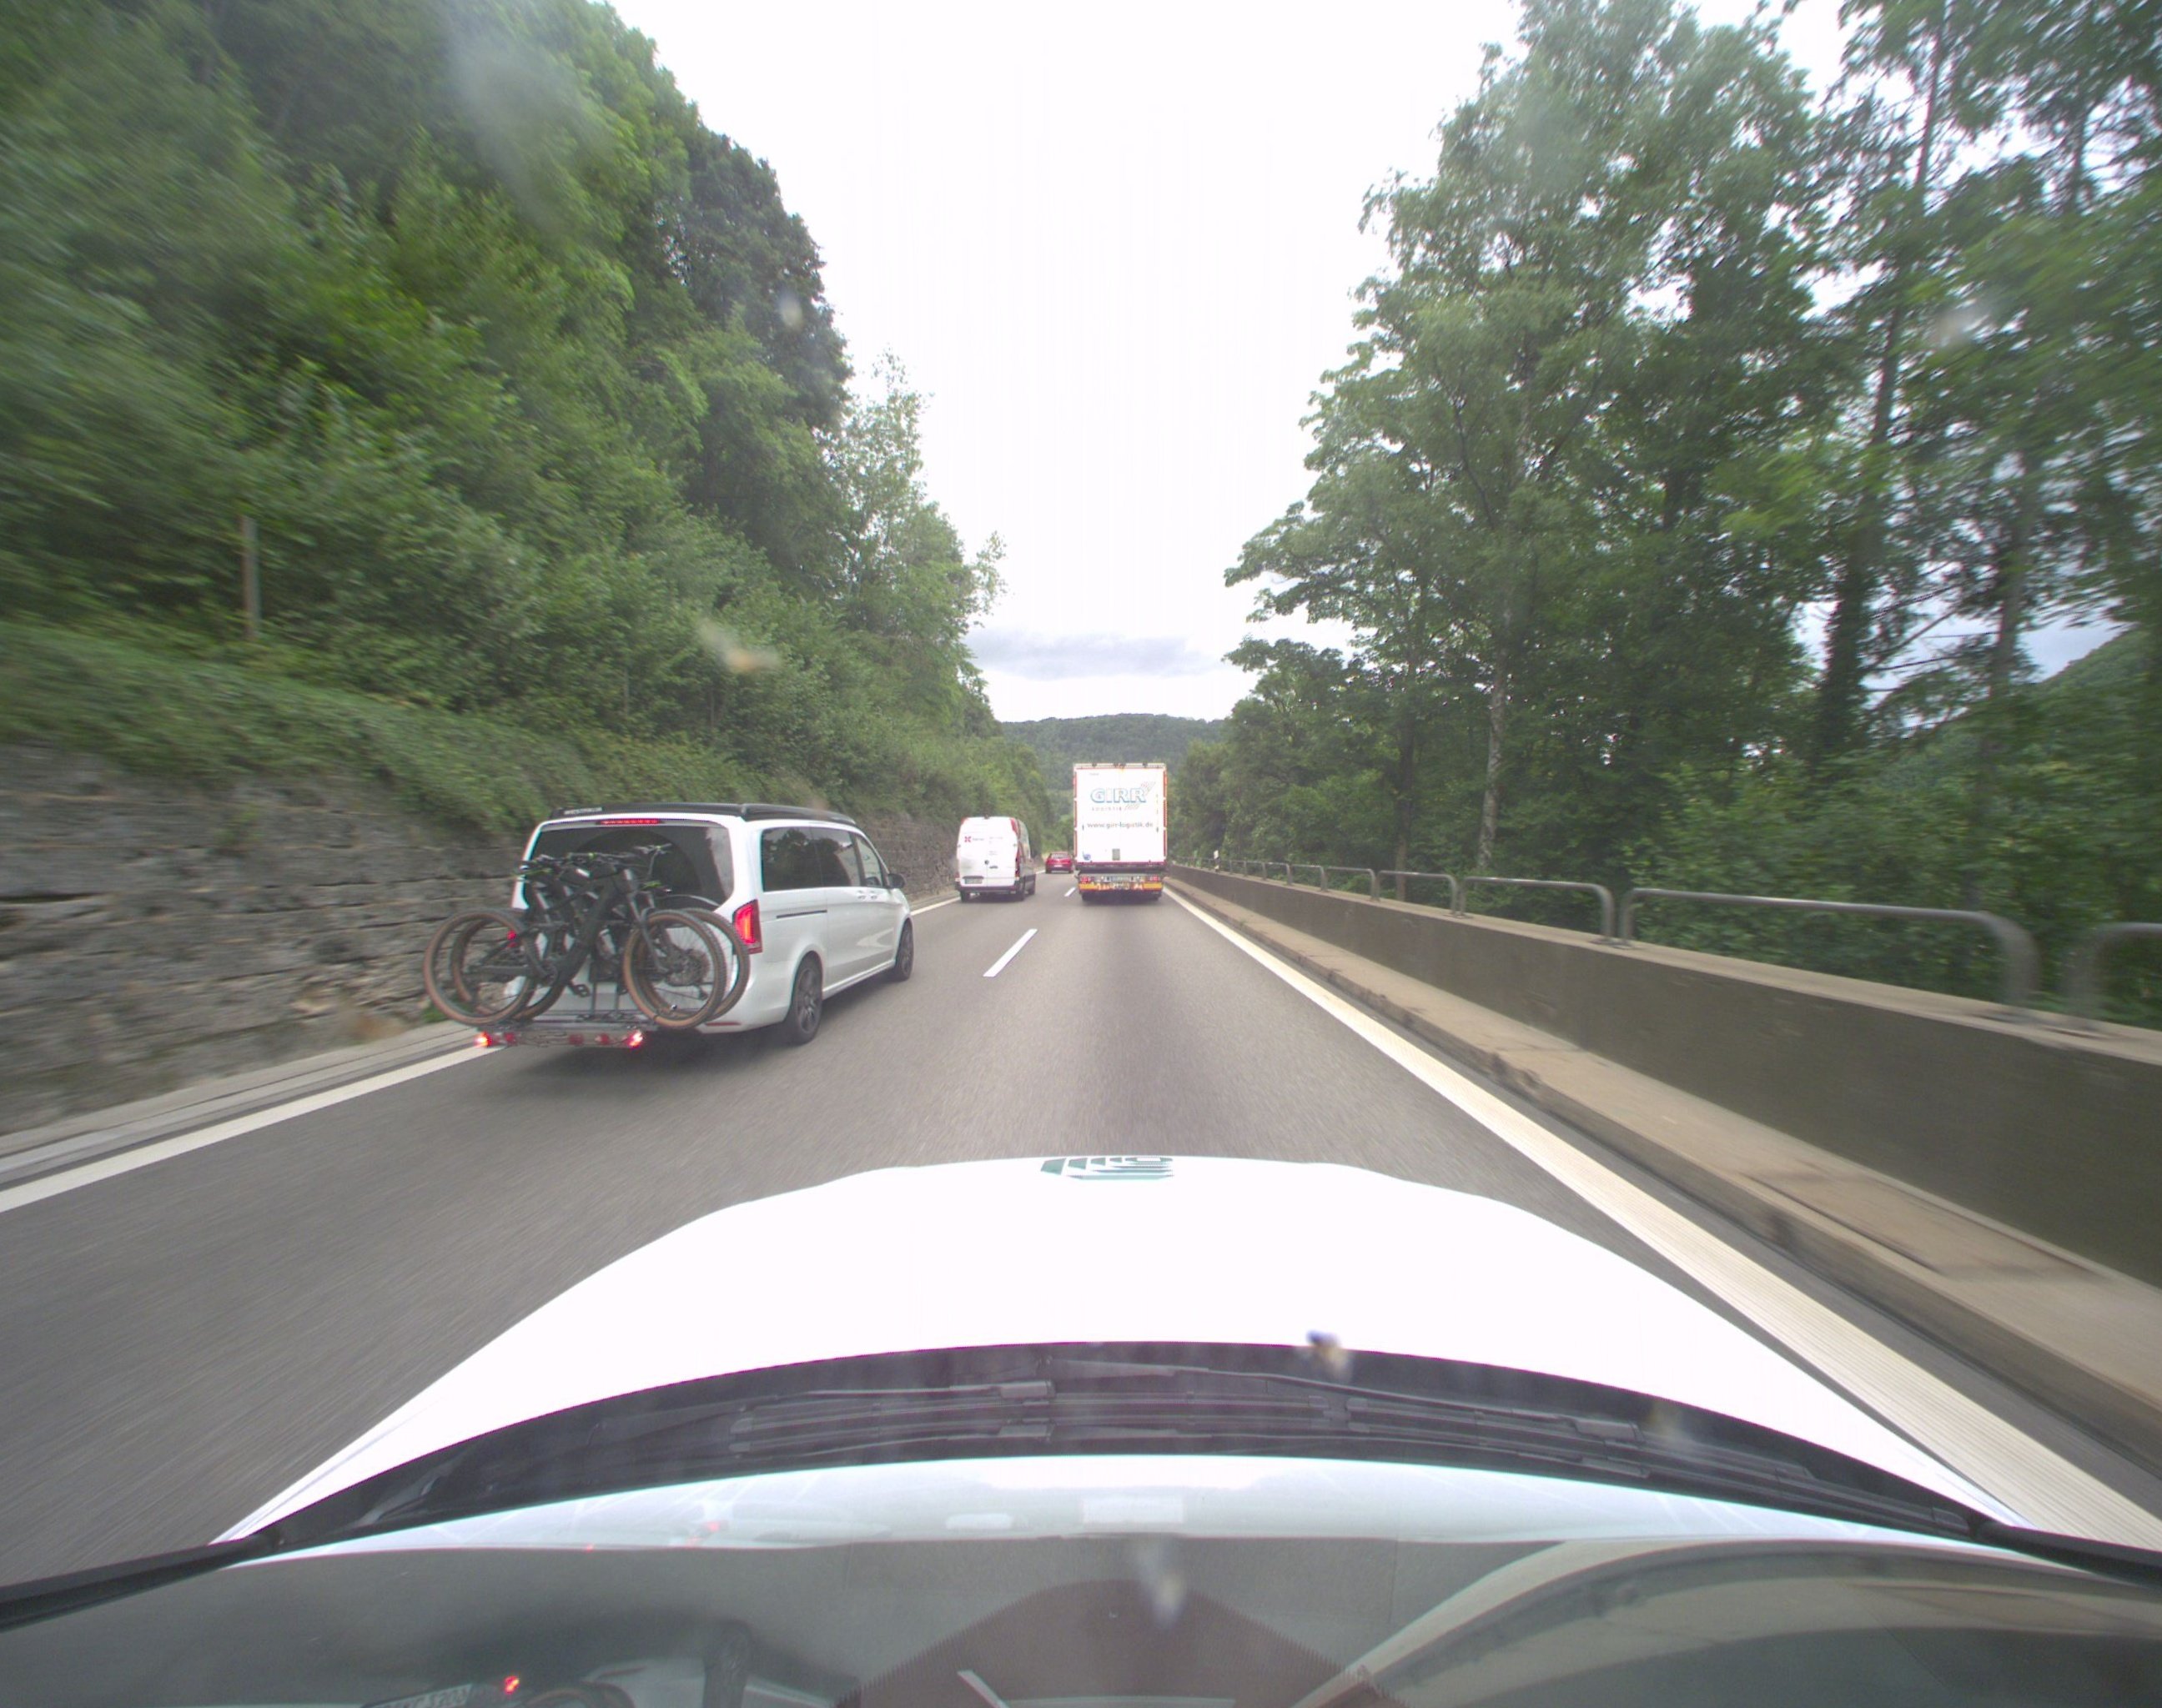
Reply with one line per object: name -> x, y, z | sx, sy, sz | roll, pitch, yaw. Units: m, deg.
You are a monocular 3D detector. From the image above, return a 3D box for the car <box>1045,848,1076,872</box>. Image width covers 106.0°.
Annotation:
car -> -1.351, 0.399, 54.778 | 1.759, 1.460, 4.414 | -2, 0, 2

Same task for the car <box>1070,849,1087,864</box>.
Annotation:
car -> -0.290, 0.260, 91.056 | 1.662, 1.638, 4.070 | -2, 0, 2

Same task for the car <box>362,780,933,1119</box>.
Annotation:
car -> -3.065, 0.534, 7.769 | 1.986, 1.953, 6.150 | 0, 0, 2

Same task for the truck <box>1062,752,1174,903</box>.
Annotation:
truck -> 1.235, -0.713, 26.533 | 2.897, 3.960, 9.285 | -2, 0, 3

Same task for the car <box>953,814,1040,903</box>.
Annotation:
car -> -2.638, 0.144, 27.088 | 2.018, 2.585, 6.276 | -2, 0, 2
